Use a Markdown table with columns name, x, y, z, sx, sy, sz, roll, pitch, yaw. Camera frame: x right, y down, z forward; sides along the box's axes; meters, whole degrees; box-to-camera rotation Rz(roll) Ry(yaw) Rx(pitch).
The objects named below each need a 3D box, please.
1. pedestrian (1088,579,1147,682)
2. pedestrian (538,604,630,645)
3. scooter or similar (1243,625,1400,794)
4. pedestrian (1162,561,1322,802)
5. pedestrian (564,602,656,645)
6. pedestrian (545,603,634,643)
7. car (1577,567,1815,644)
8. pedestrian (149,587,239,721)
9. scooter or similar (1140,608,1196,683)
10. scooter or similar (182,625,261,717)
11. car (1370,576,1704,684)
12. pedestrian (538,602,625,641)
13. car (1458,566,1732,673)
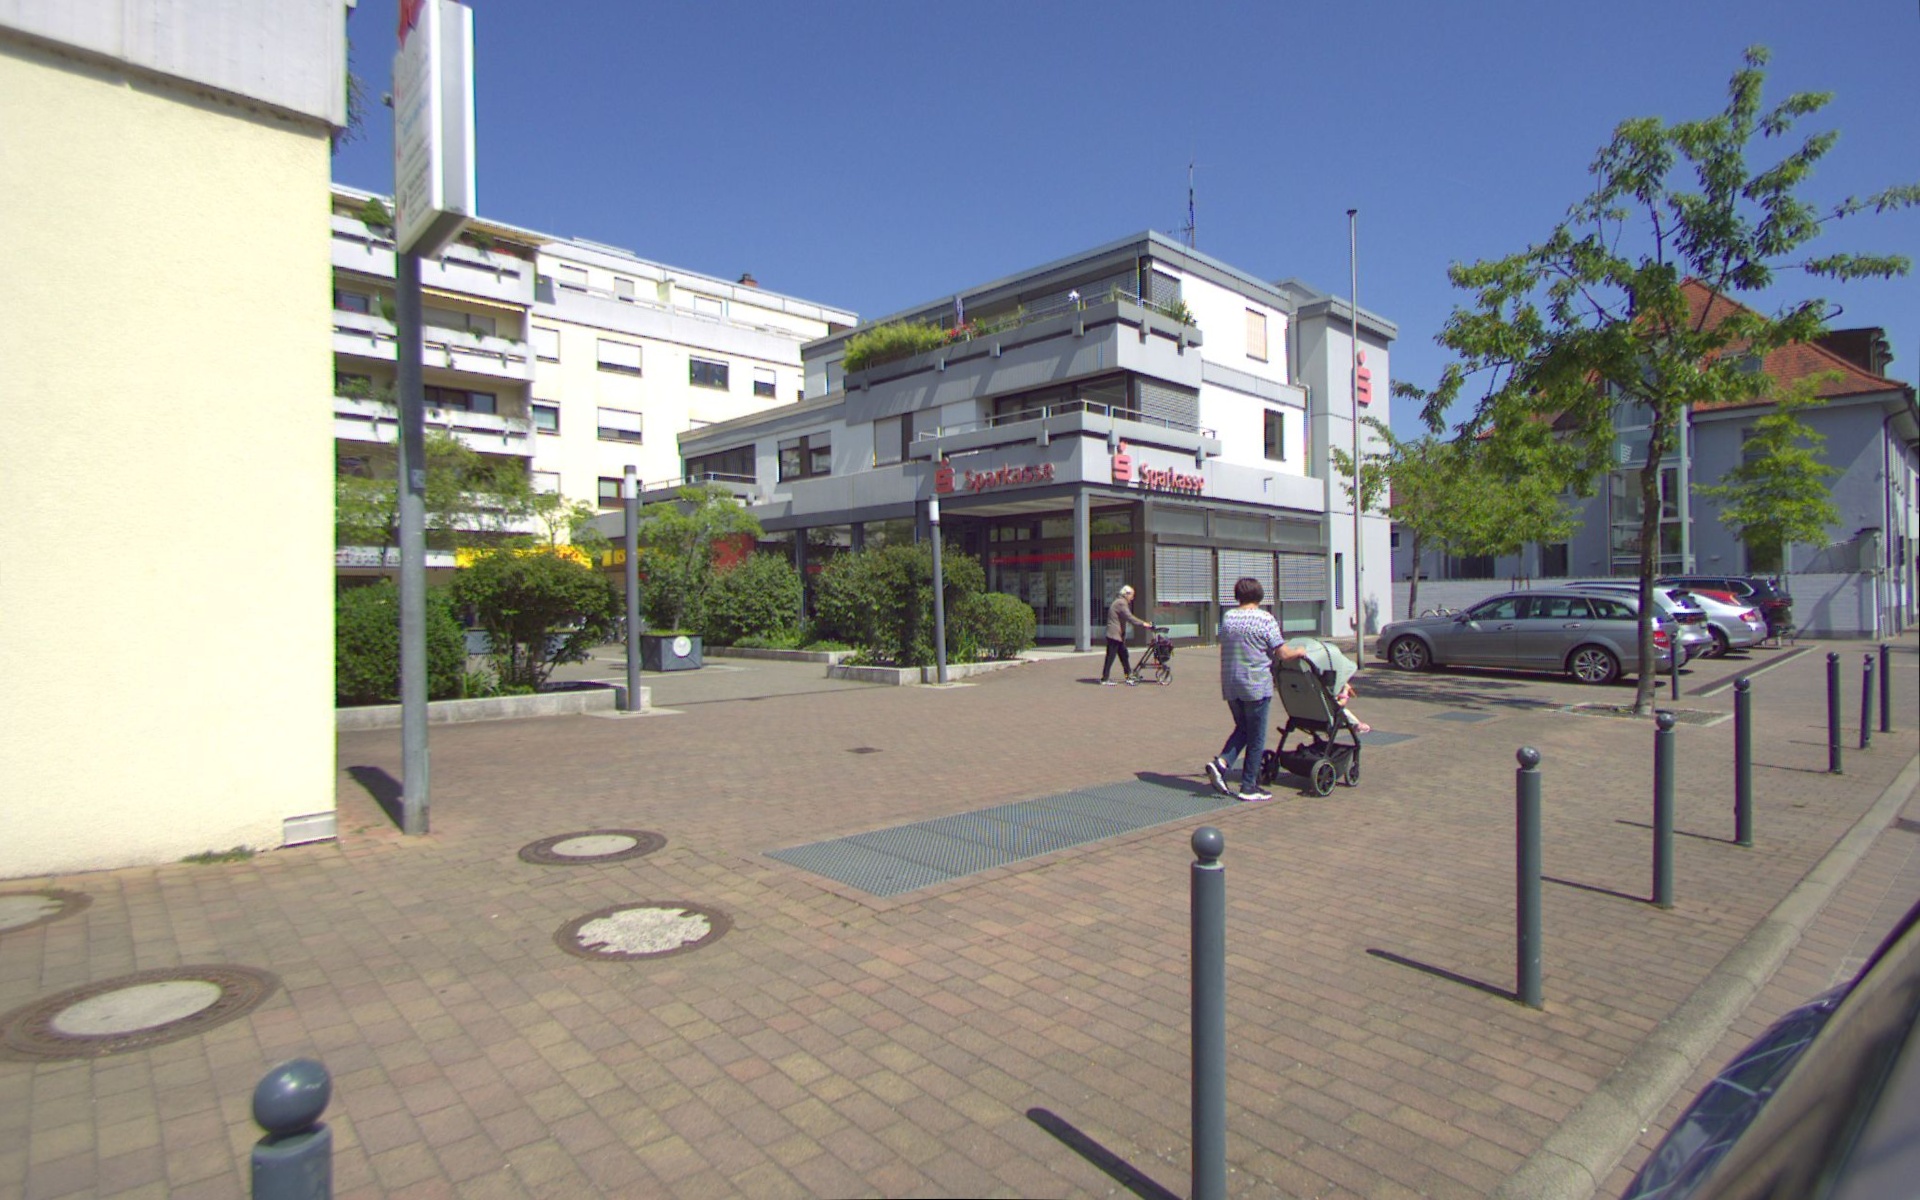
| name | x | y | z | sx | sy | sz | roll | pitch | yaw |
| --- | --- | --- | --- | --- | --- | --- | --- | --- | --- |
| pedestrian | 2.410 | 0.459 | 15.440 | 0.799 | 1.516 | 0.666 | -1 | -1 | 16 |
| pedestrian | -12.441 | 0.790 | 33.573 | 0.982 | 1.290 | 2.736 | -1 | 0 | 40 |
| scooter or similar | 2.686 | 0.766 | 7.510 | 1.024 | 1.120 | 0.627 | -1 | -1 | -36 |
| pedestrian | 1.943 | 0.523 | 6.987 | 0.786 | 1.541 | 0.705 | 0 | -1 | -37 |
| pedestrian | -11.384 | 0.746 | 32.999 | 0.982 | 1.290 | 2.736 | -1 | 0 | 40 |
| pedestrian | -12.690 | 0.758 | 34.751 | 0.982 | 1.290 | 2.736 | -1 | 0 | 40 |
| car | 18.727 | 0.077 | 25.909 | 2.112 | 1.793 | 4.635 | 0 | 1 | -43 |
| pedestrian | -9.072 | 0.613 | 12.017 | 0.606 | 1.516 | 0.813 | -1 | 0 | -17 |
| scooter or similar | 3.135 | 0.674 | 15.217 | 0.793 | 1.088 | 0.588 | -1 | 0 | 14 |
| scooter or similar | -9.300 | 0.872 | 12.772 | 0.578 | 1.088 | 0.807 | -1 | 0 | -17 |
| car | 9.527 | 0.385 | 16.966 | 4.575 | 1.531 | 1.887 | 2 | 2 | 43 |
| pedestrian | -13.208 | 0.727 | 35.425 | 0.982 | 1.290 | 2.736 | -1 | 0 | 40 |
| car | 11.732 | 0.253 | 18.885 | 1.828 | 1.592 | 3.991 | -3 | 6 | -44 |
